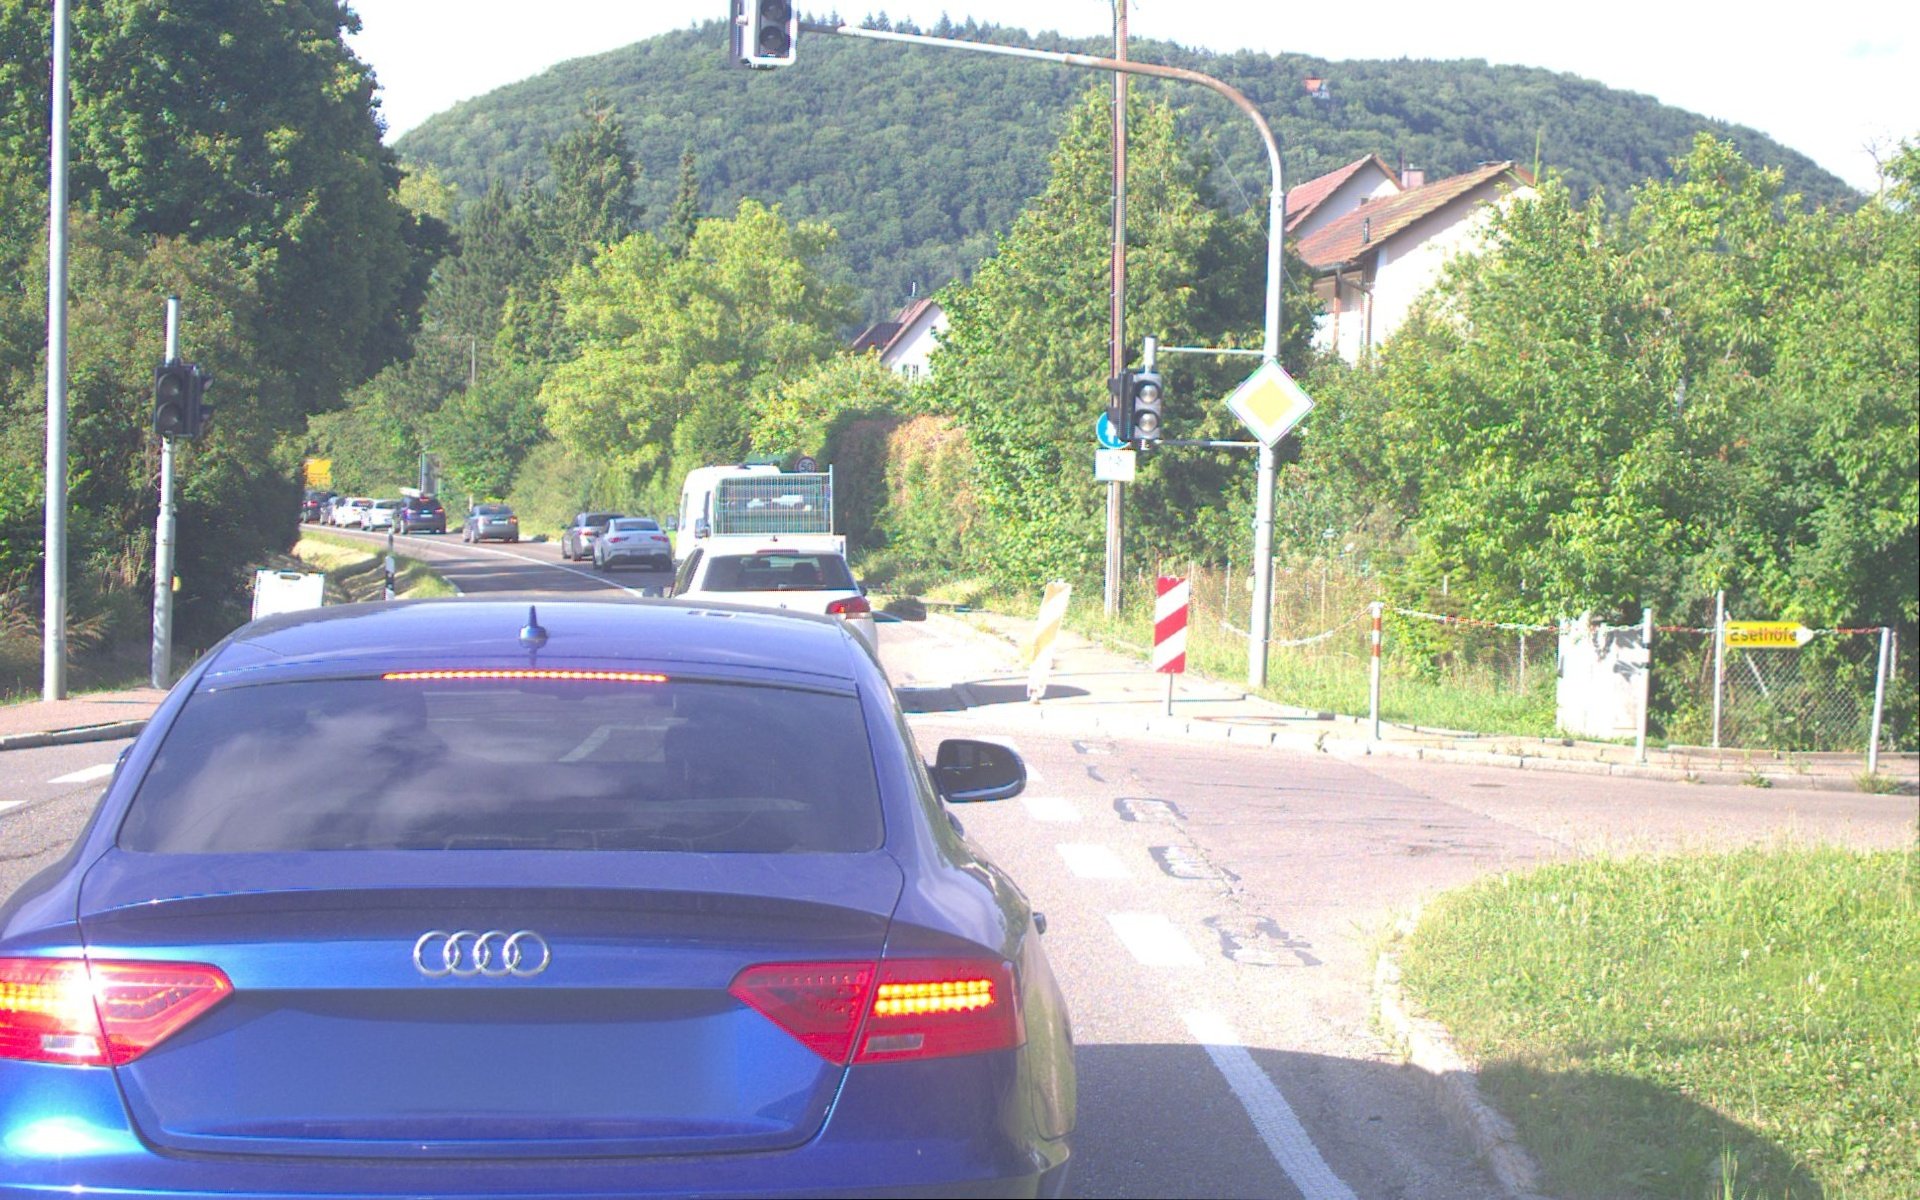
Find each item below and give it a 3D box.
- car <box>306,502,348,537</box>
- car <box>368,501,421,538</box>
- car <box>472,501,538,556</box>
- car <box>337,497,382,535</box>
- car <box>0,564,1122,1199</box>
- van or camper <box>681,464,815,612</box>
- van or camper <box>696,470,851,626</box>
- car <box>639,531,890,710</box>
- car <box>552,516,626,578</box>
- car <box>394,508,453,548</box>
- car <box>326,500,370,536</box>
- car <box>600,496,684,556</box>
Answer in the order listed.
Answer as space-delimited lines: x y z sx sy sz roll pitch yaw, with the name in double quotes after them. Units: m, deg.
-32.811 -4.190 178.077 1.771 1.776 4.001 -1 2 -16 "car"
-25.766 -3.662 156.614 1.941 1.678 4.001 -1 1 -16 "car"
-17.153 -2.686 129.473 1.993 2.007 4.001 -1 1 -15 "car"
-28.883 -4.040 165.326 1.748 1.776 4.001 -1 2 -16 "car"
-0.778 0.667 6.735 1.829 1.404 4.227 -1 1 -2 "car"
-4.393 -1.305 70.306 2.414 2.894 6.133 0 2 -6 "van or camper"
-3.066 -0.880 55.477 2.179 2.377 5.371 0 2 -6 "van or camper"
-1.811 0.132 30.588 1.770 1.410 4.175 2 1 -9 "car"
-11.054 -1.586 102.342 1.796 1.787 4.001 -1 2 -12 "car"
-23.141 -3.129 148.211 2.040 1.678 4.002 0 2 -16 "car"
-30.543 -4.110 171.519 1.771 1.776 4.001 -1 2 -16 "car"
-8.490 -1.990 91.461 1.819 1.546 4.001 0 2 -11 "car"
